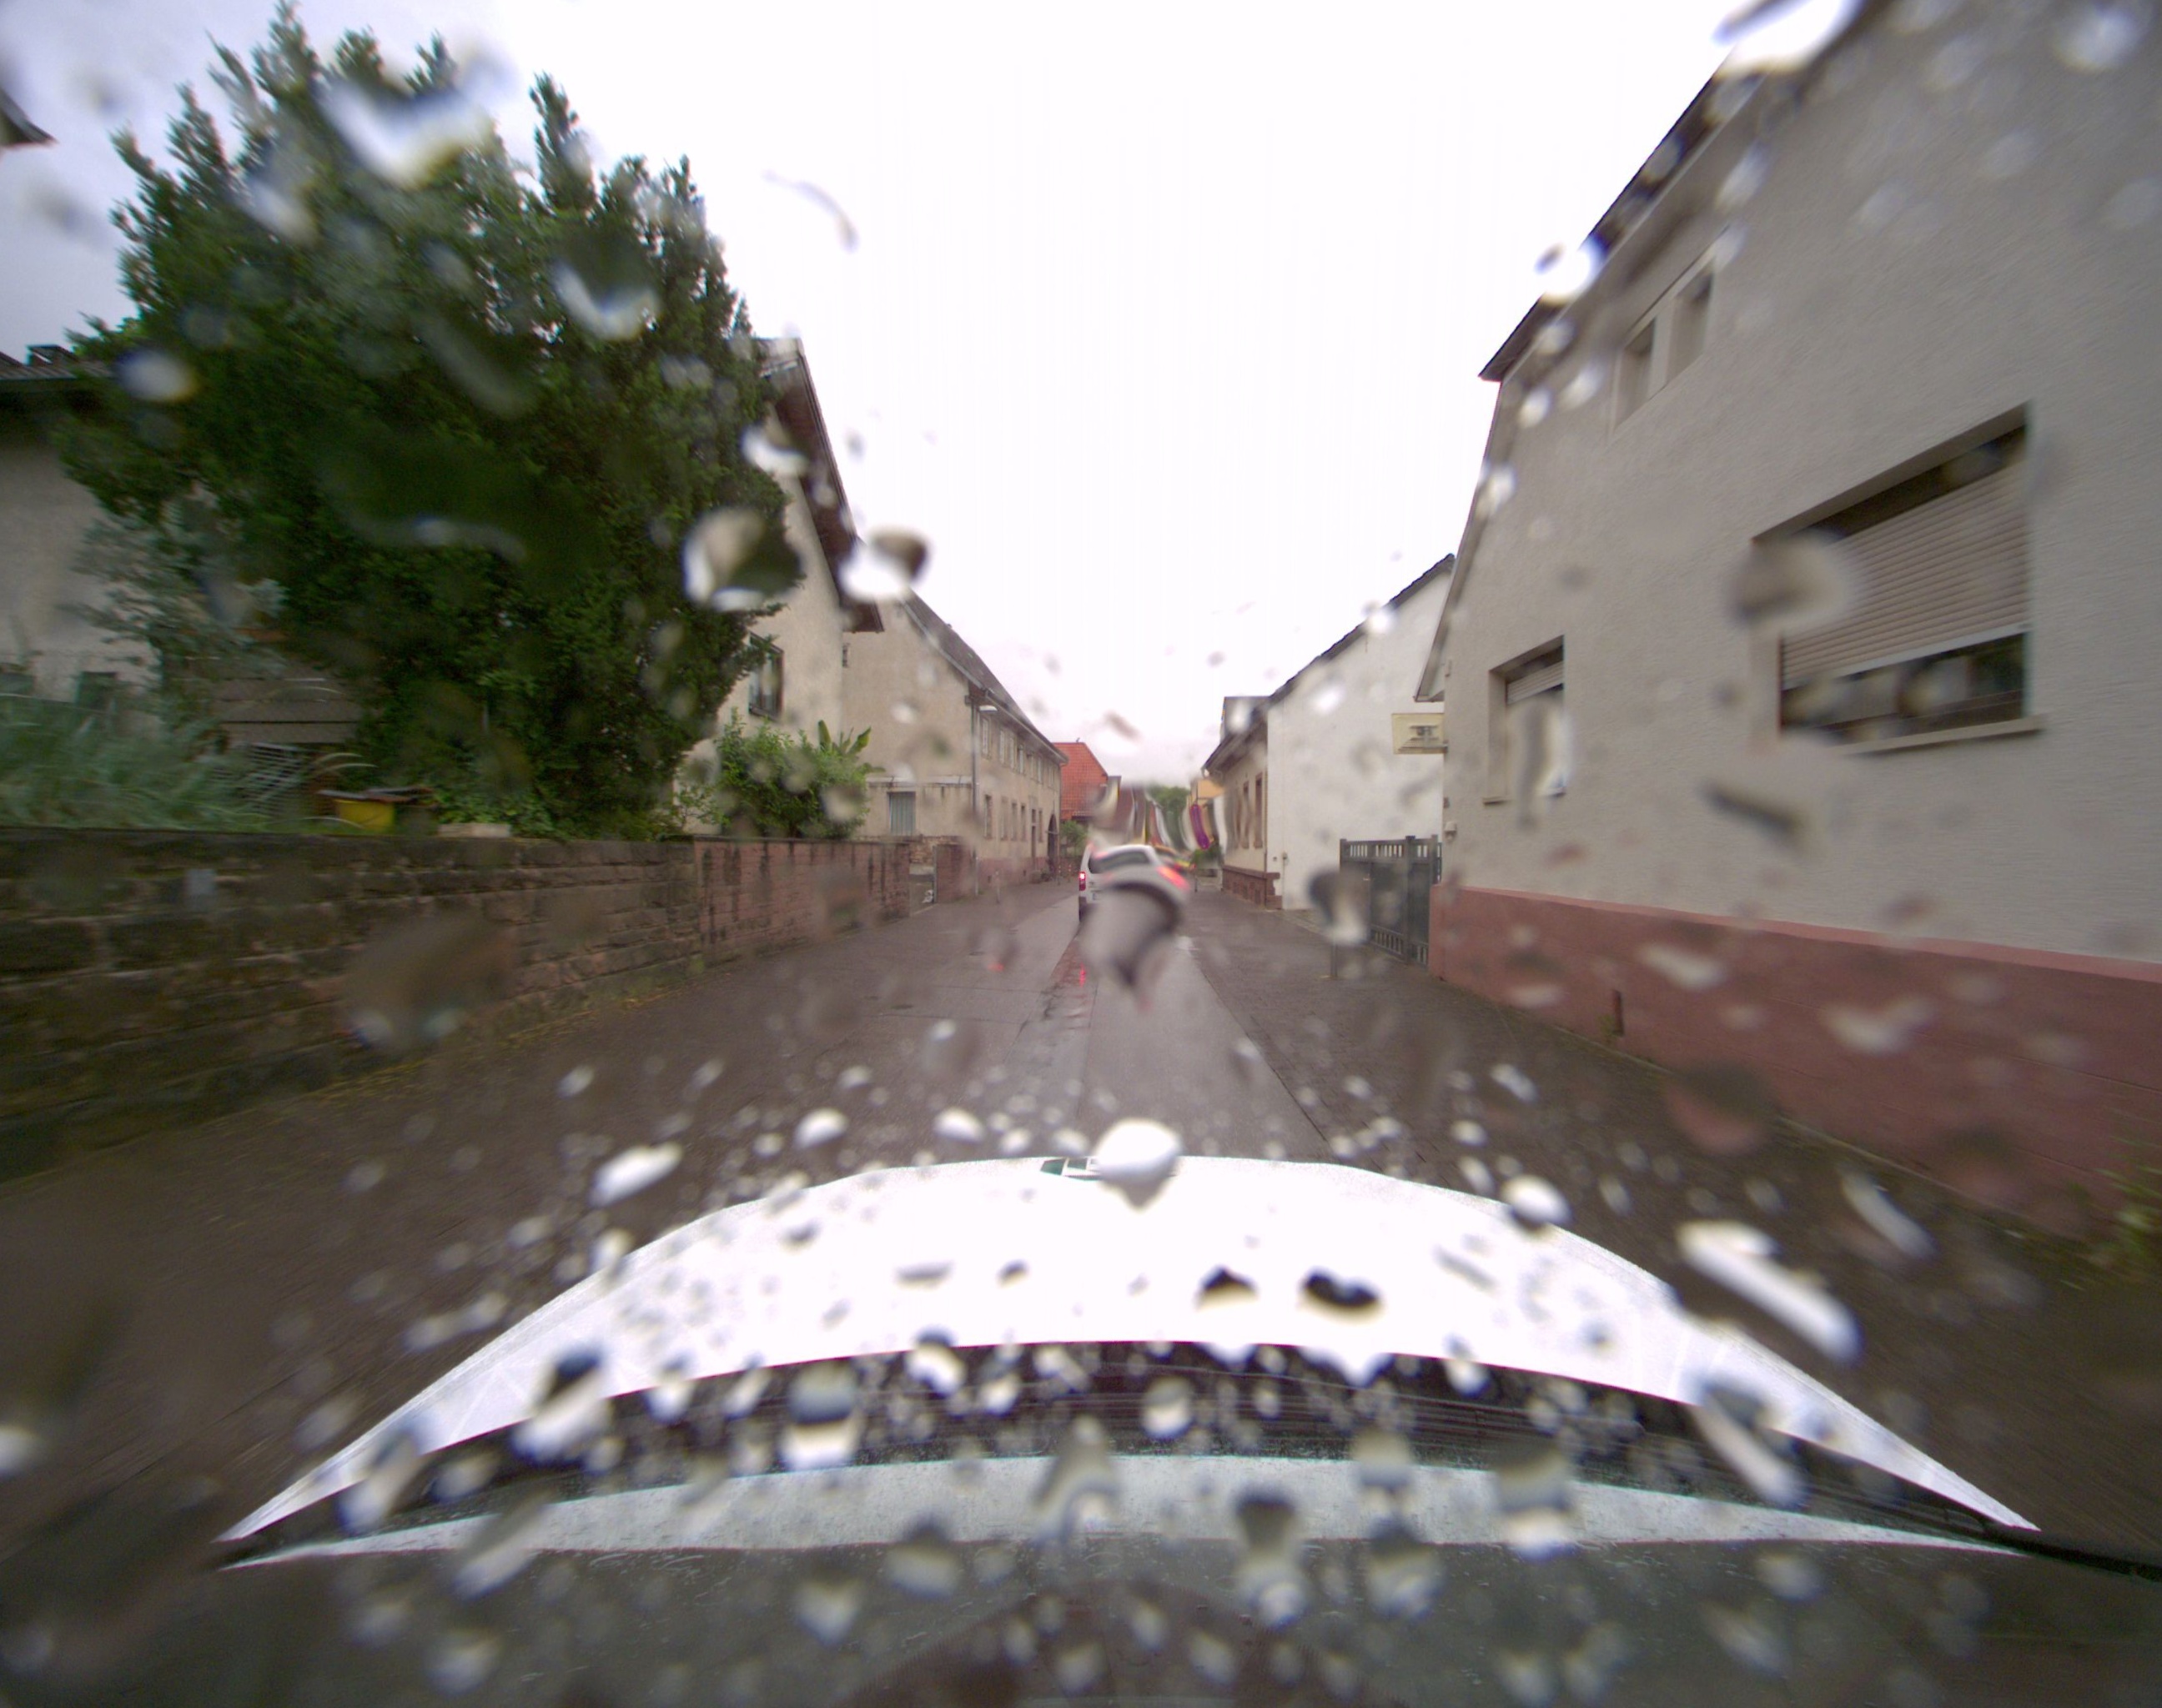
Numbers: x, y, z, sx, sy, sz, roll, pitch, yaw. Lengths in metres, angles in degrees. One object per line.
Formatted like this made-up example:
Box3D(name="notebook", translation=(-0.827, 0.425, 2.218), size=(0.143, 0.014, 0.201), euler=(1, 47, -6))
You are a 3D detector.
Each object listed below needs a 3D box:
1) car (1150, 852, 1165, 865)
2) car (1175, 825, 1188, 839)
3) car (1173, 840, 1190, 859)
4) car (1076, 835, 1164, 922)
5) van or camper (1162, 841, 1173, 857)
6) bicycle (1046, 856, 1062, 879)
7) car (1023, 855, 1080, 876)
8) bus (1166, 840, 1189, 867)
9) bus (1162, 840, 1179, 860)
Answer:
Box3D(name="car", translation=(8.728, 0.515, 92.340), size=(1.553, 1.371, 3.592), euler=(1, -1, 7))
Box3D(name="car", translation=(16.239, -3.511, 131.751), size=(1.982, 2.014, 4.008), euler=(1, -1, 8))
Box3D(name="car", translation=(11.461, -0.517, 92.825), size=(1.818, 2.014, 3.700), euler=(1, -1, 6))
Box3D(name="car", translation=(1.041, 0.557, 19.495), size=(1.785, 1.819, 4.108), euler=(-1, -1, 6))
Box3D(name="van or camper", translation=(17.342, -1.011, 162.700), size=(1.825, 2.925, 5.375), euler=(1, -1, 8))
Box3D(name="bicycle", translation=(-1.413, 0.734, 43.120), size=(0.480, 1.180, 1.839), euler=(1, -1, 8))
Box3D(name="car", translation=(-1.910, 0.735, 53.622), size=(3.507, 1.376, 1.598), euler=(0, 0, 8))
Box3D(name="bus", translation=(12.268, -0.011, 103.553), size=(2.779, 3.180, 8.192), euler=(2, -1, 7))
Box3D(name="bus", translation=(15.828, -0.670, 143.550), size=(2.779, 3.329, 8.192), euler=(2, -1, 7))
